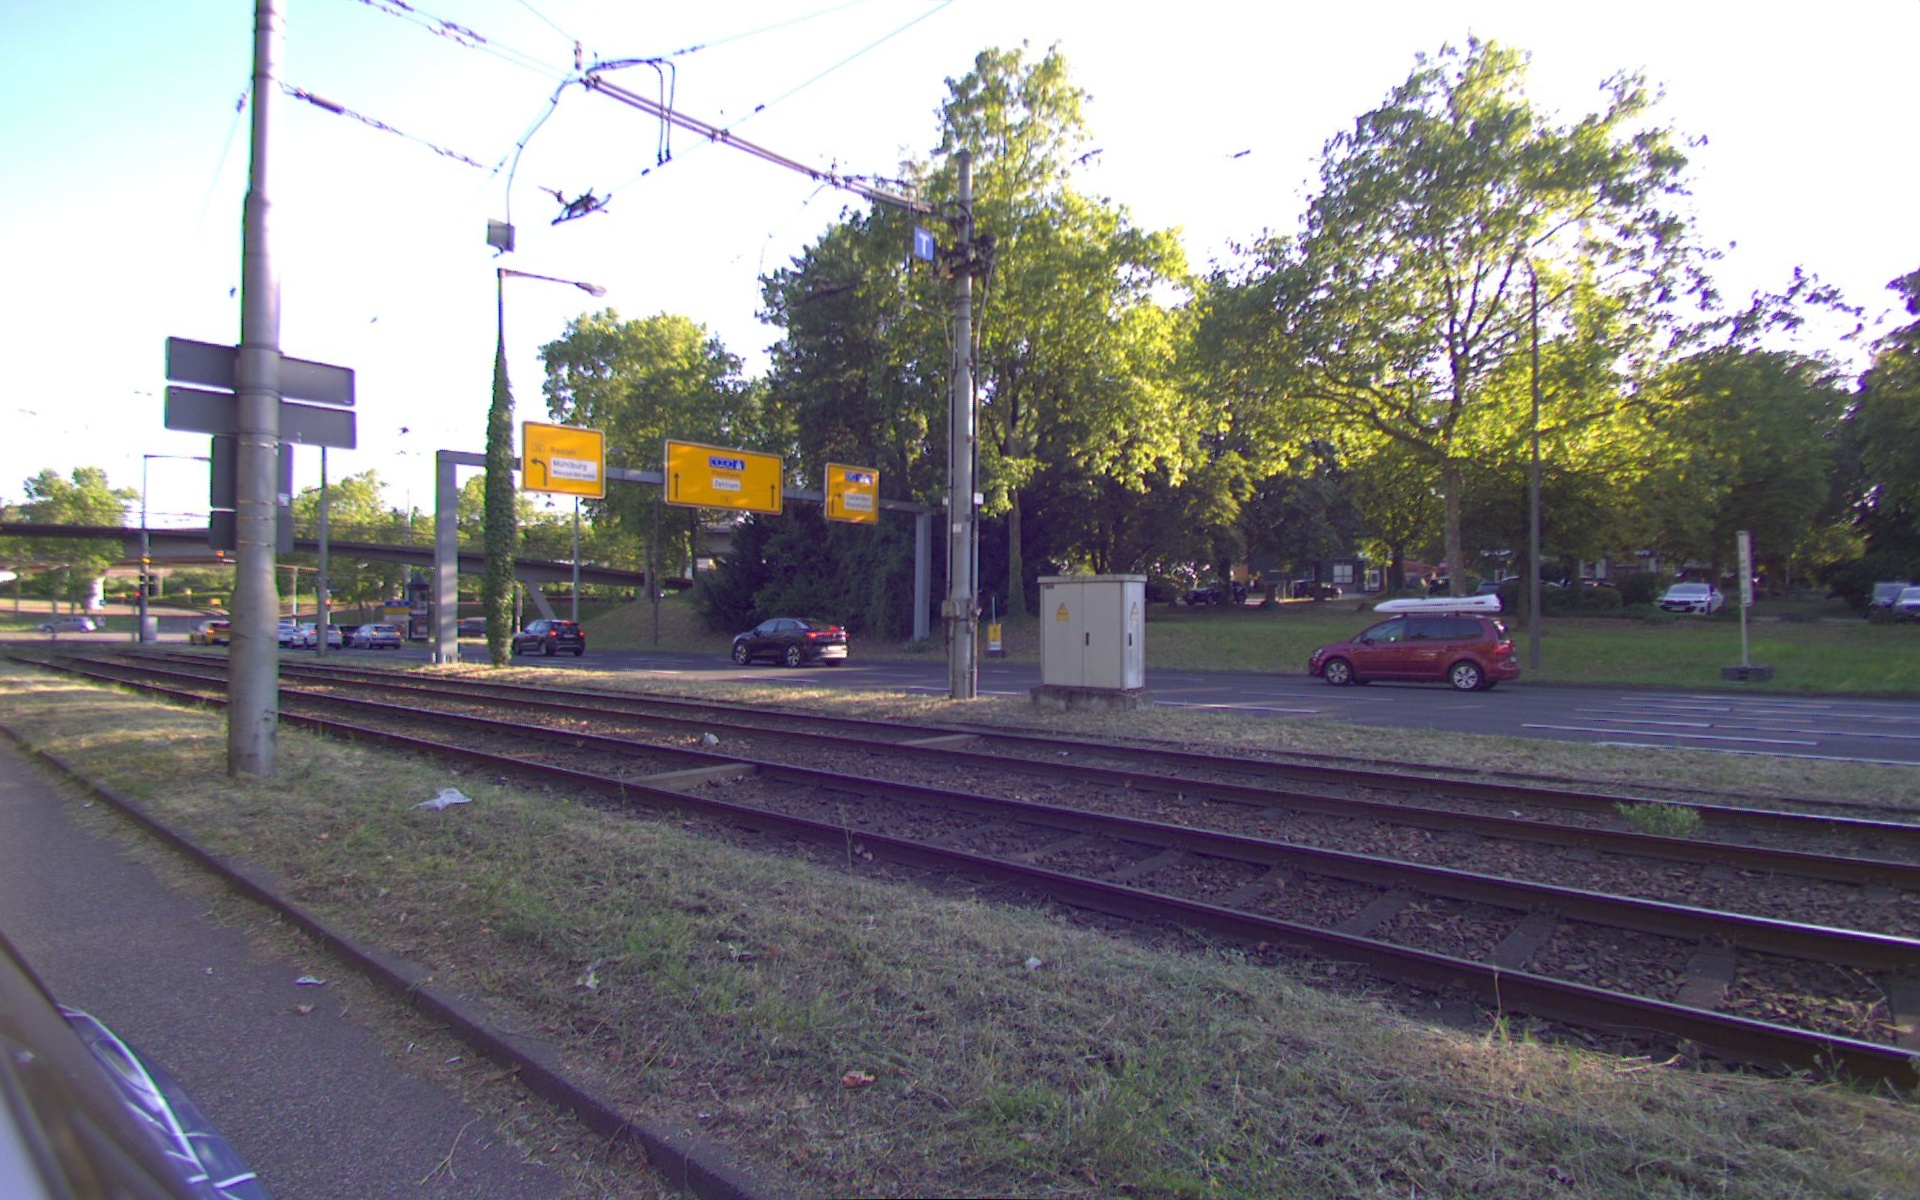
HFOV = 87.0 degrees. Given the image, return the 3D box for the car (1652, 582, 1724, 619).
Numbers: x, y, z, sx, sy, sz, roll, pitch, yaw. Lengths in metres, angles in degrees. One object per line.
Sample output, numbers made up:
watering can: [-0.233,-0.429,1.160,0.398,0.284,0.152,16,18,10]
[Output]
car: [31.572,0.006,43.834,1.942,1.521,4.039,0,0,44]

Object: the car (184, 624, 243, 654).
car: [-40.793,2.121,55.247,3.997,1.556,1.744,-1,-1,40]

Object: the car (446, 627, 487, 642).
car: [-52.373,3.654,107.501,3.810,1.421,1.817,-1,0,-30]

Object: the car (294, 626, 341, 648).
car: [-44.262,2.504,69.666,1.891,1.435,4.229,0,-1,-44]

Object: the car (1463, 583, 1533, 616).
car: [26.181,-0.041,49.175,1.942,1.521,4.039,0,0,44]

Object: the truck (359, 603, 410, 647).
truck: [-40.292,1.739,70.759,2.248,2.901,6.895,0,-1,-37]

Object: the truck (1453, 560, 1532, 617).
truck: [31.754,-0.685,60.274,2.503,3.191,6.137,0,0,45]

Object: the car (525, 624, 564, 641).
car: [-43.987,3.432,107.206,3.747,1.591,1.683,-1,0,-26]

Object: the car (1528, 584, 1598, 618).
car: [28.436,0.018,47.646,1.942,1.521,4.039,0,0,44]

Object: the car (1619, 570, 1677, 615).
car: [36.897,-0.396,54.228,2.161,2.320,4.348,0,0,40]

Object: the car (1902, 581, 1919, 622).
car: [37.591,0.039,38.882,1.942,1.521,4.039,0,0,44]

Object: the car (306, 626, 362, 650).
car: [-39.751,2.412,64.221,4.224,1.435,1.844,-1,-1,40]

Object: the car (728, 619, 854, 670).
car: [-5.539,1.414,32.869,4.332,1.556,1.713,-1,-2,41]

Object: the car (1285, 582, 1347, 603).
car: [27.014,-0.587,76.829,4.045,1.521,1.939,-1,0,4]

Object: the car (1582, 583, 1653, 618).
car: [30.046,0.010,46.209,1.942,1.521,4.039,0,0,44]

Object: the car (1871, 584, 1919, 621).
car: [43.980,0.099,47.215,3.998,1.628,1.864,-1,0,-43]

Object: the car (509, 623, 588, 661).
car: [-17.946,1.810,44.031,3.974,1.569,1.731,-2,-3,44]

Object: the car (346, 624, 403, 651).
car: [-34.951,2.223,60.406,3.998,1.556,1.789,-1,-1,41]

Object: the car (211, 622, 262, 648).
car: [-45.827,2.181,64.036,4.228,1.561,1.892,-1,-2,44]

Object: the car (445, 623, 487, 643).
car: [-50.662,3.338,103.849,3.748,1.872,1.682,-1,0,-30]

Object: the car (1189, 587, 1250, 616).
car: [15.406,0.064,59.947,1.791,1.657,3.942,-1,-1,44]

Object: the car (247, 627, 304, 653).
car: [-40.563,2.333,59.946,4.226,1.435,1.893,-1,-1,42]

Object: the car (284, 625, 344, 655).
car: [-35.730,2.203,55.948,3.997,1.556,1.744,-1,-1,40]

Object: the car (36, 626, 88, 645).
car: [-81.522,3.210,91.875,3.314,1.581,1.616,-1,-1,-32]

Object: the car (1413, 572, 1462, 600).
car: [33.568,-0.990,71.050,2.290,1.864,5.214,-1,1,34]

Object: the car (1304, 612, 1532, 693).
car: [10.126,1.117,22.541,4.308,1.647,1.818,-1,-2,40]
